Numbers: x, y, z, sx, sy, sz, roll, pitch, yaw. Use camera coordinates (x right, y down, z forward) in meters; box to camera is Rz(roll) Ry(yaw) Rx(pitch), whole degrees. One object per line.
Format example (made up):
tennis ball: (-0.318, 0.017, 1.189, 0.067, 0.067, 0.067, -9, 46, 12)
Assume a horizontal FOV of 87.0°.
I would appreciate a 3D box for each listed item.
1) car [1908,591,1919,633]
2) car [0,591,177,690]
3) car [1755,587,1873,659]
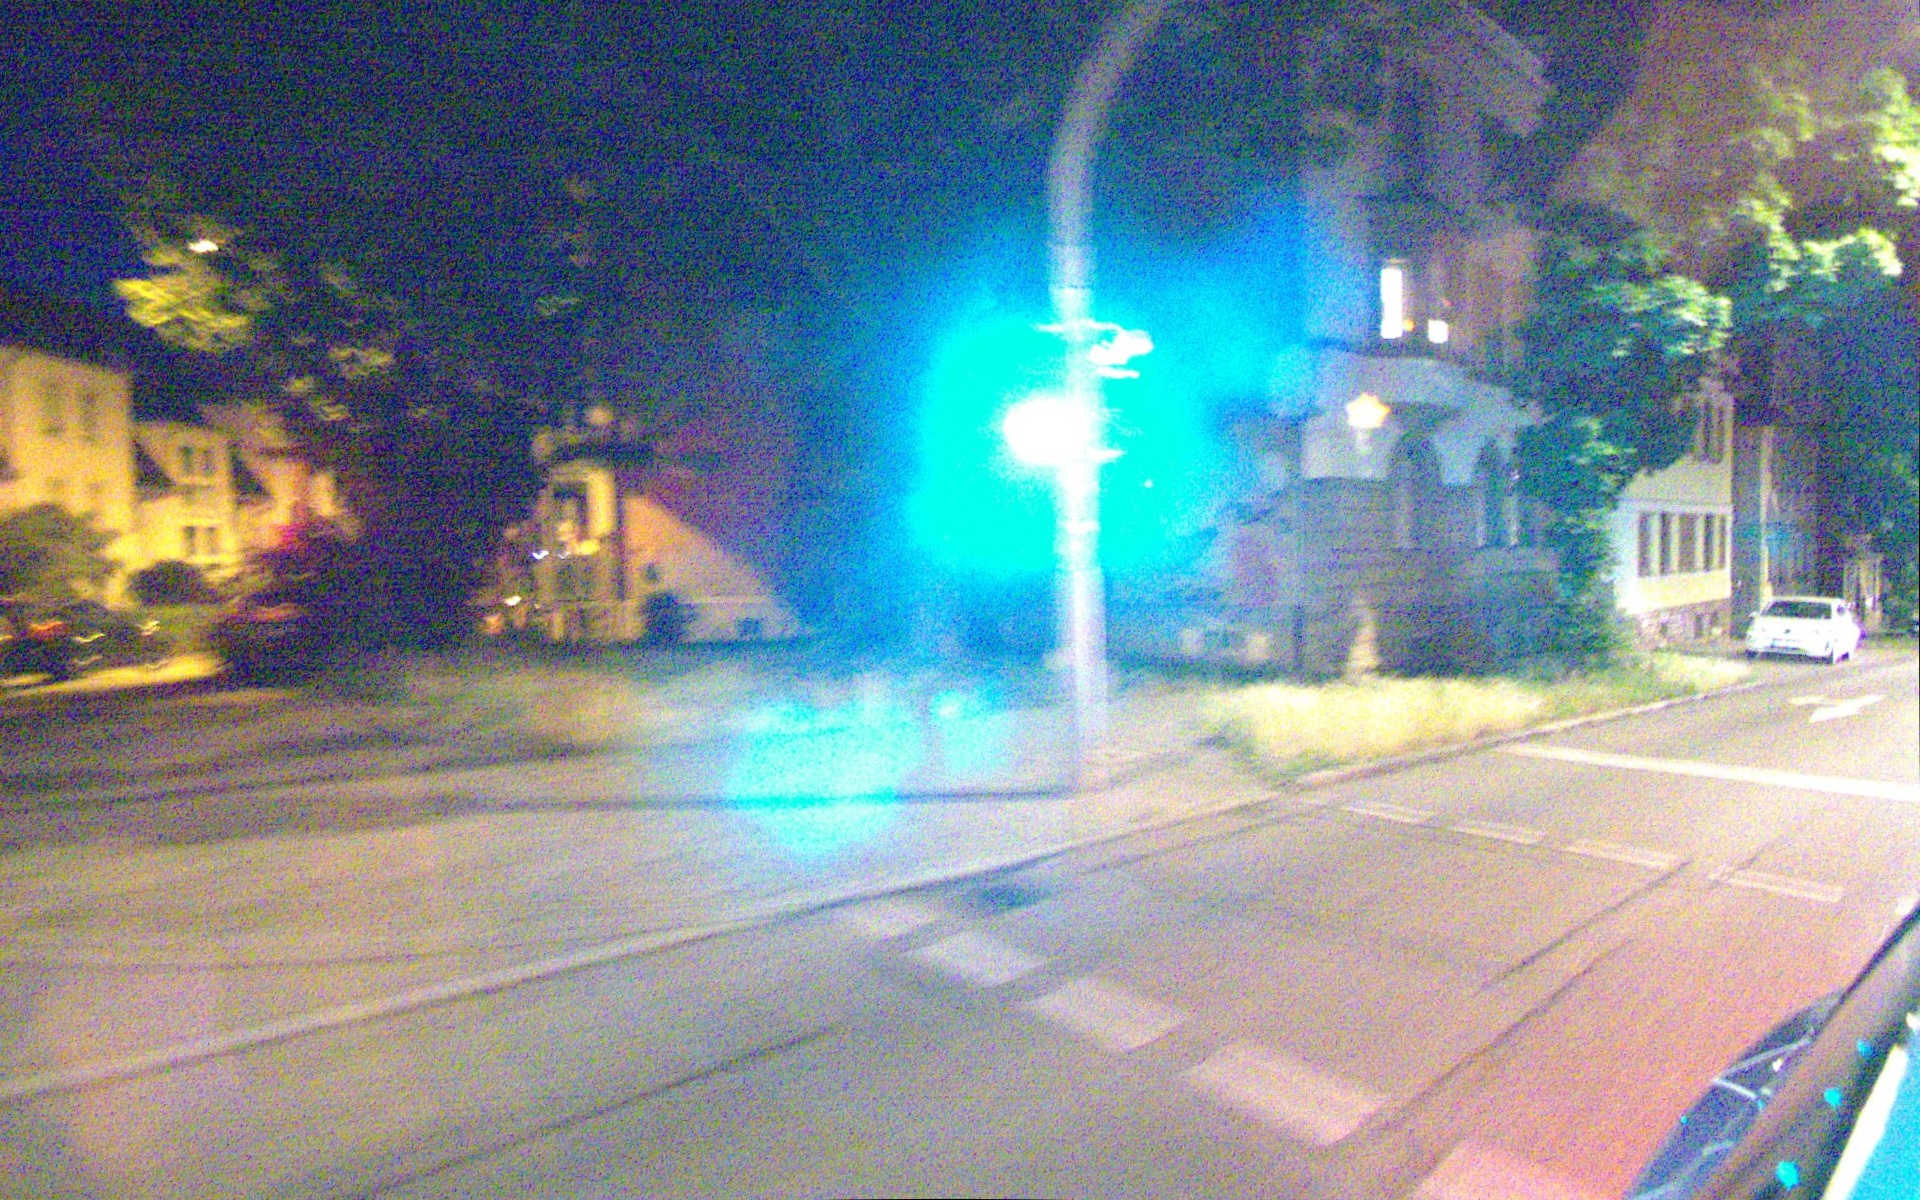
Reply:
car: (34.433, 0.447, 35.267, 3.347, 1.433, 1.536, 0, 2, -39)
car: (-14.830, 0.611, 16.582, 1.840, 1.405, 4.085, -2, 1, -18)
car: (20.014, 0.483, 23.689, 3.349, 1.512, 1.625, 0, 2, -42)
